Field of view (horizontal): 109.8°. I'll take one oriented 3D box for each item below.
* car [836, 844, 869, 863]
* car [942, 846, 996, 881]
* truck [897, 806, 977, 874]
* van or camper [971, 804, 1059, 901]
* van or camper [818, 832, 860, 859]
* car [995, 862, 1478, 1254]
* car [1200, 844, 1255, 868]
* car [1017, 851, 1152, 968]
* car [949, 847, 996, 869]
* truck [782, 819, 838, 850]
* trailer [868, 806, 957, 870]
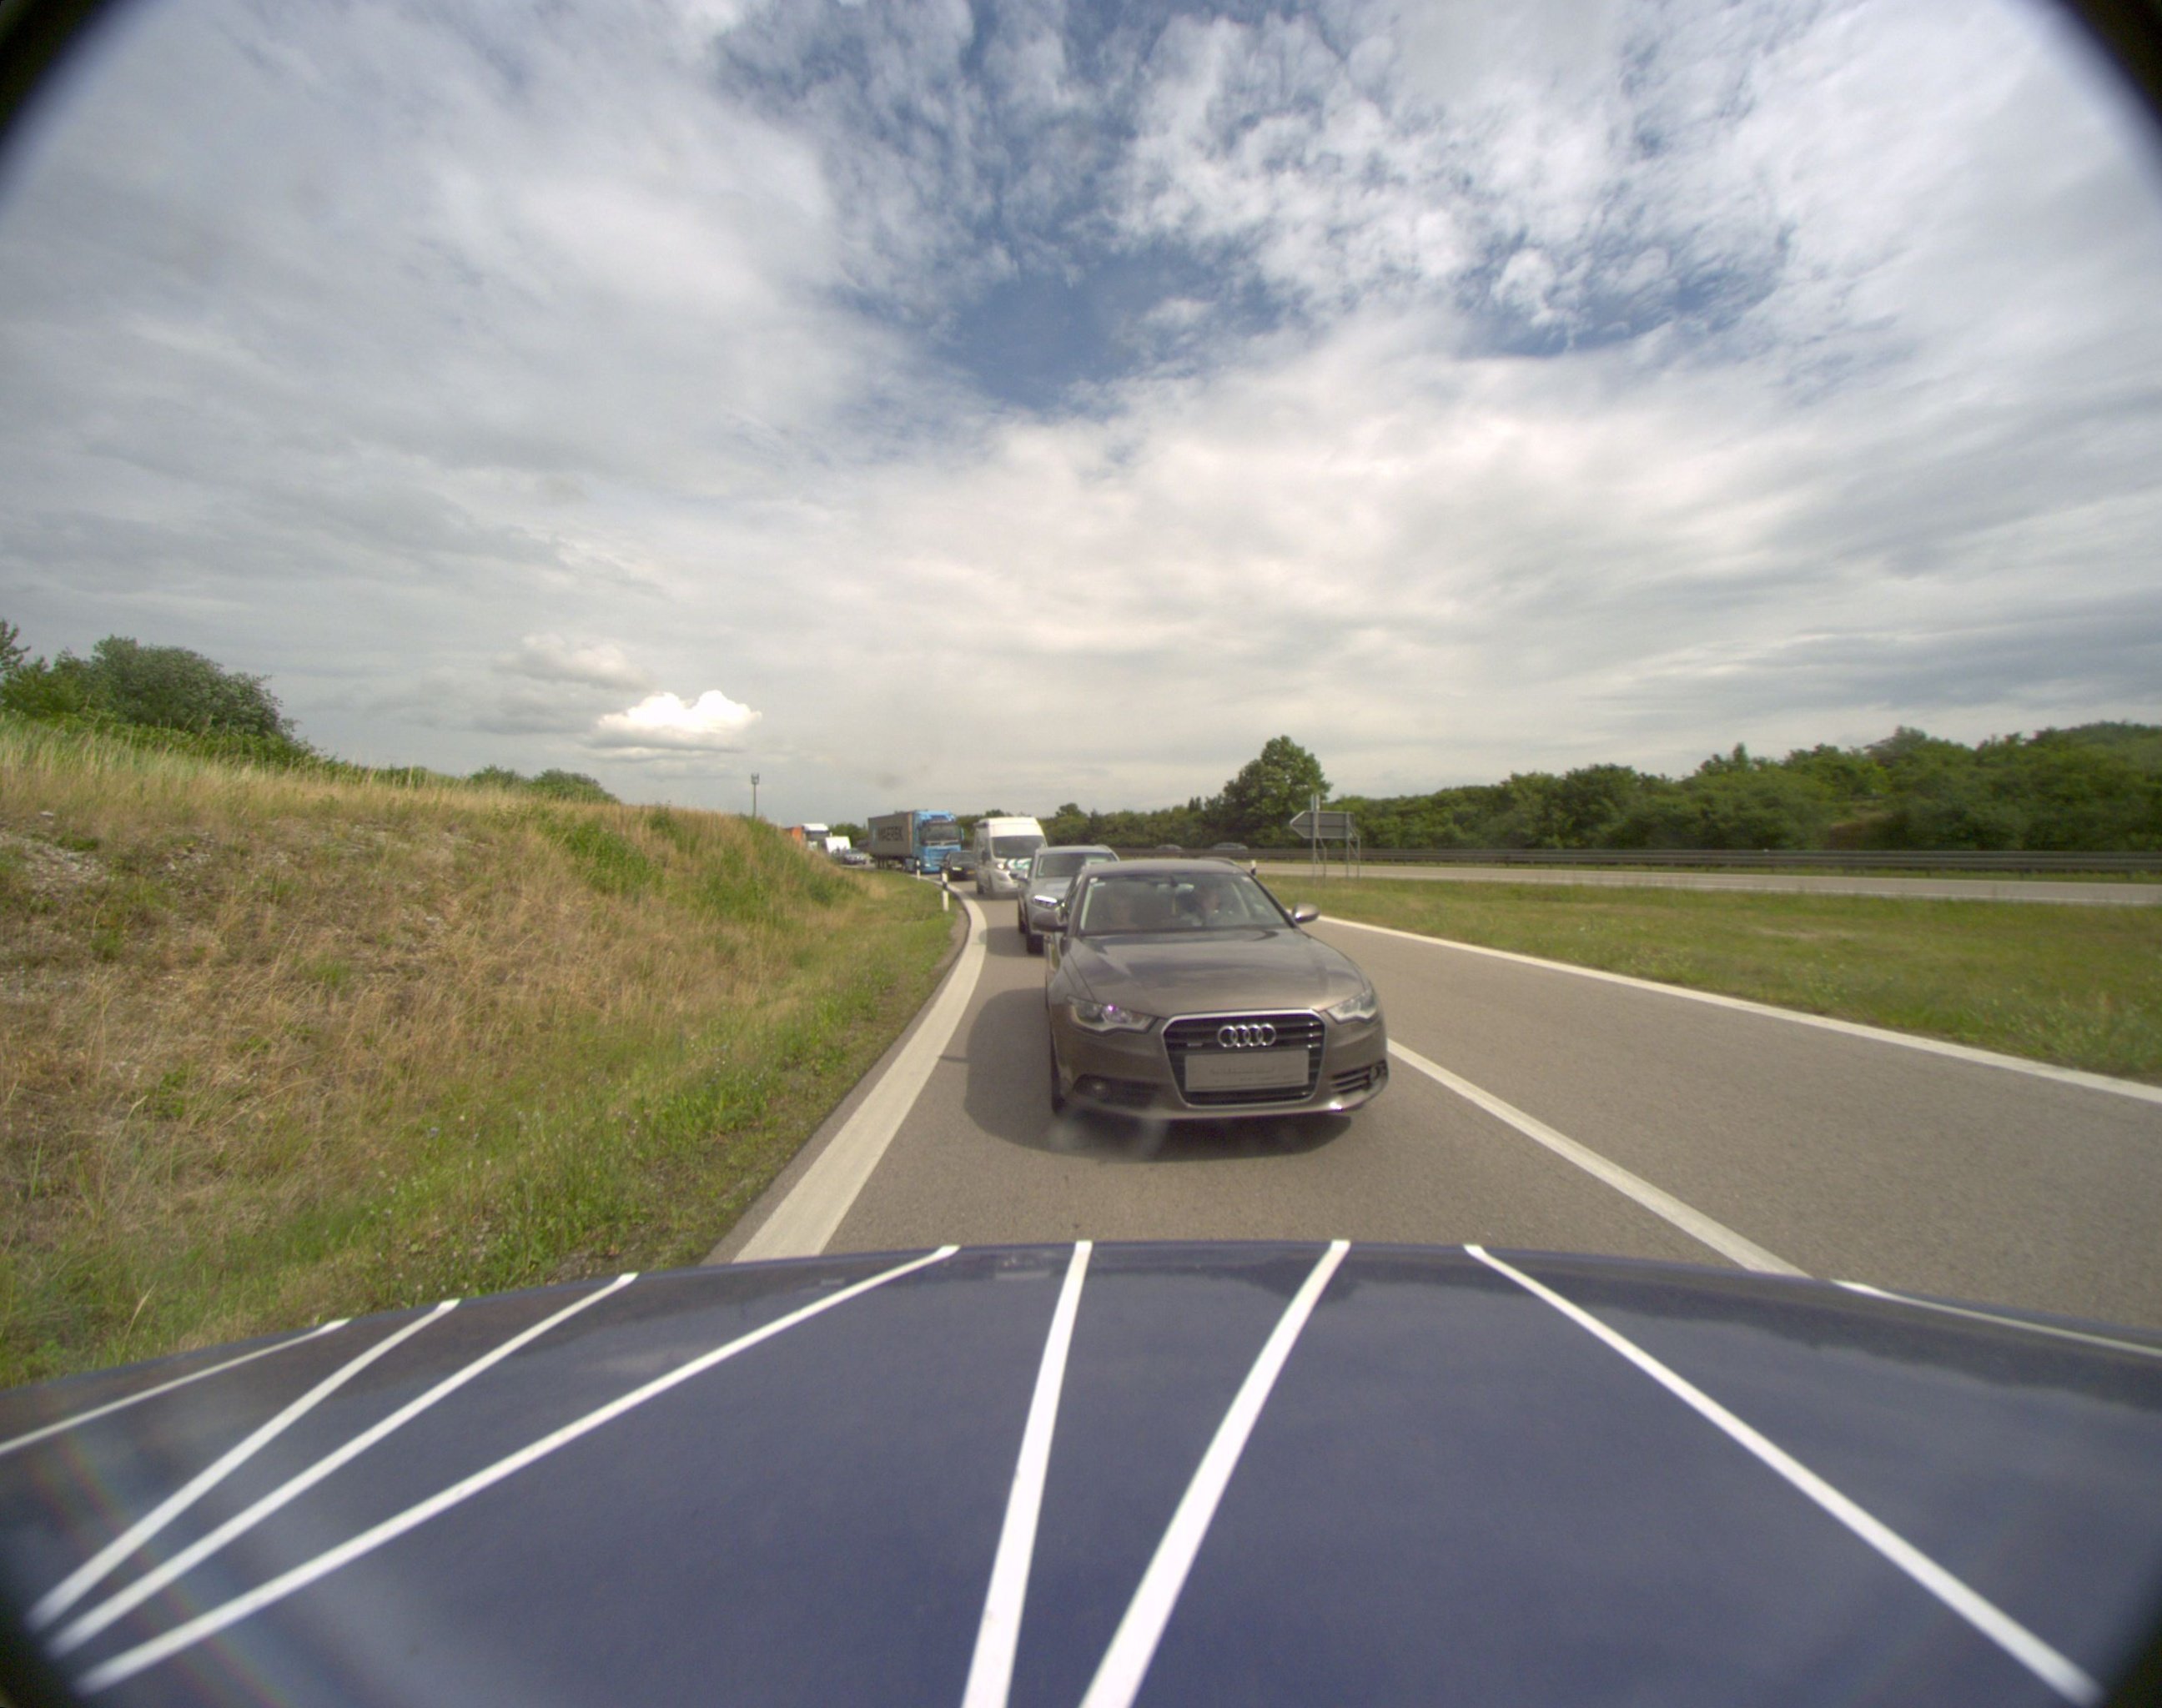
[{"bbox_3d":[-20.345,-0.044,67.555,2.003,1.521,3.990,-2,2,-29],"label":"car"},{"bbox_3d":[-5.714,0.448,38.324,2.002,1.609,3.992,-1,1,-19],"label":"car"},{"bbox_3d":[-9.402,-0.859,49.099,3.184,4.049,6.632,-3,1,-27],"label":"truck"},{"bbox_3d":[-2.415,-0.060,26.158,2.400,2.892,5.715,-2,1,-10],"label":"van or camper"},{"bbox_3d":[-23.318,-0.871,73.066,2.557,2.200,5.693,-3,5,-31],"label":"van or camper"},{"bbox_3d":[0.641,0.878,5.461,1.999,1.505,4.537,-2,1,-1],"label":"car"},{"bbox_3d":[11.802,0.170,61.444,1.847,1.862,4.196,-3,1,-34],"label":"car"},{"bbox_3d":[-0.108,0.781,12.871,1.843,1.587,4.171,-1,1,-6],"label":"car"},{"bbox_3d":[-8.181,0.283,56.777,2.031,1.568,4.576,-1,1,-28],"label":"car"},{"bbox_3d":[-30.263,-2.062,84.501,3.131,3.220,11.131,-2,1,-34],"label":"truck"},{"bbox_3d":[-12.505,-1.052,55.309,3.280,4.137,11.991,-3,1,-27],"label":"trailer"}]
